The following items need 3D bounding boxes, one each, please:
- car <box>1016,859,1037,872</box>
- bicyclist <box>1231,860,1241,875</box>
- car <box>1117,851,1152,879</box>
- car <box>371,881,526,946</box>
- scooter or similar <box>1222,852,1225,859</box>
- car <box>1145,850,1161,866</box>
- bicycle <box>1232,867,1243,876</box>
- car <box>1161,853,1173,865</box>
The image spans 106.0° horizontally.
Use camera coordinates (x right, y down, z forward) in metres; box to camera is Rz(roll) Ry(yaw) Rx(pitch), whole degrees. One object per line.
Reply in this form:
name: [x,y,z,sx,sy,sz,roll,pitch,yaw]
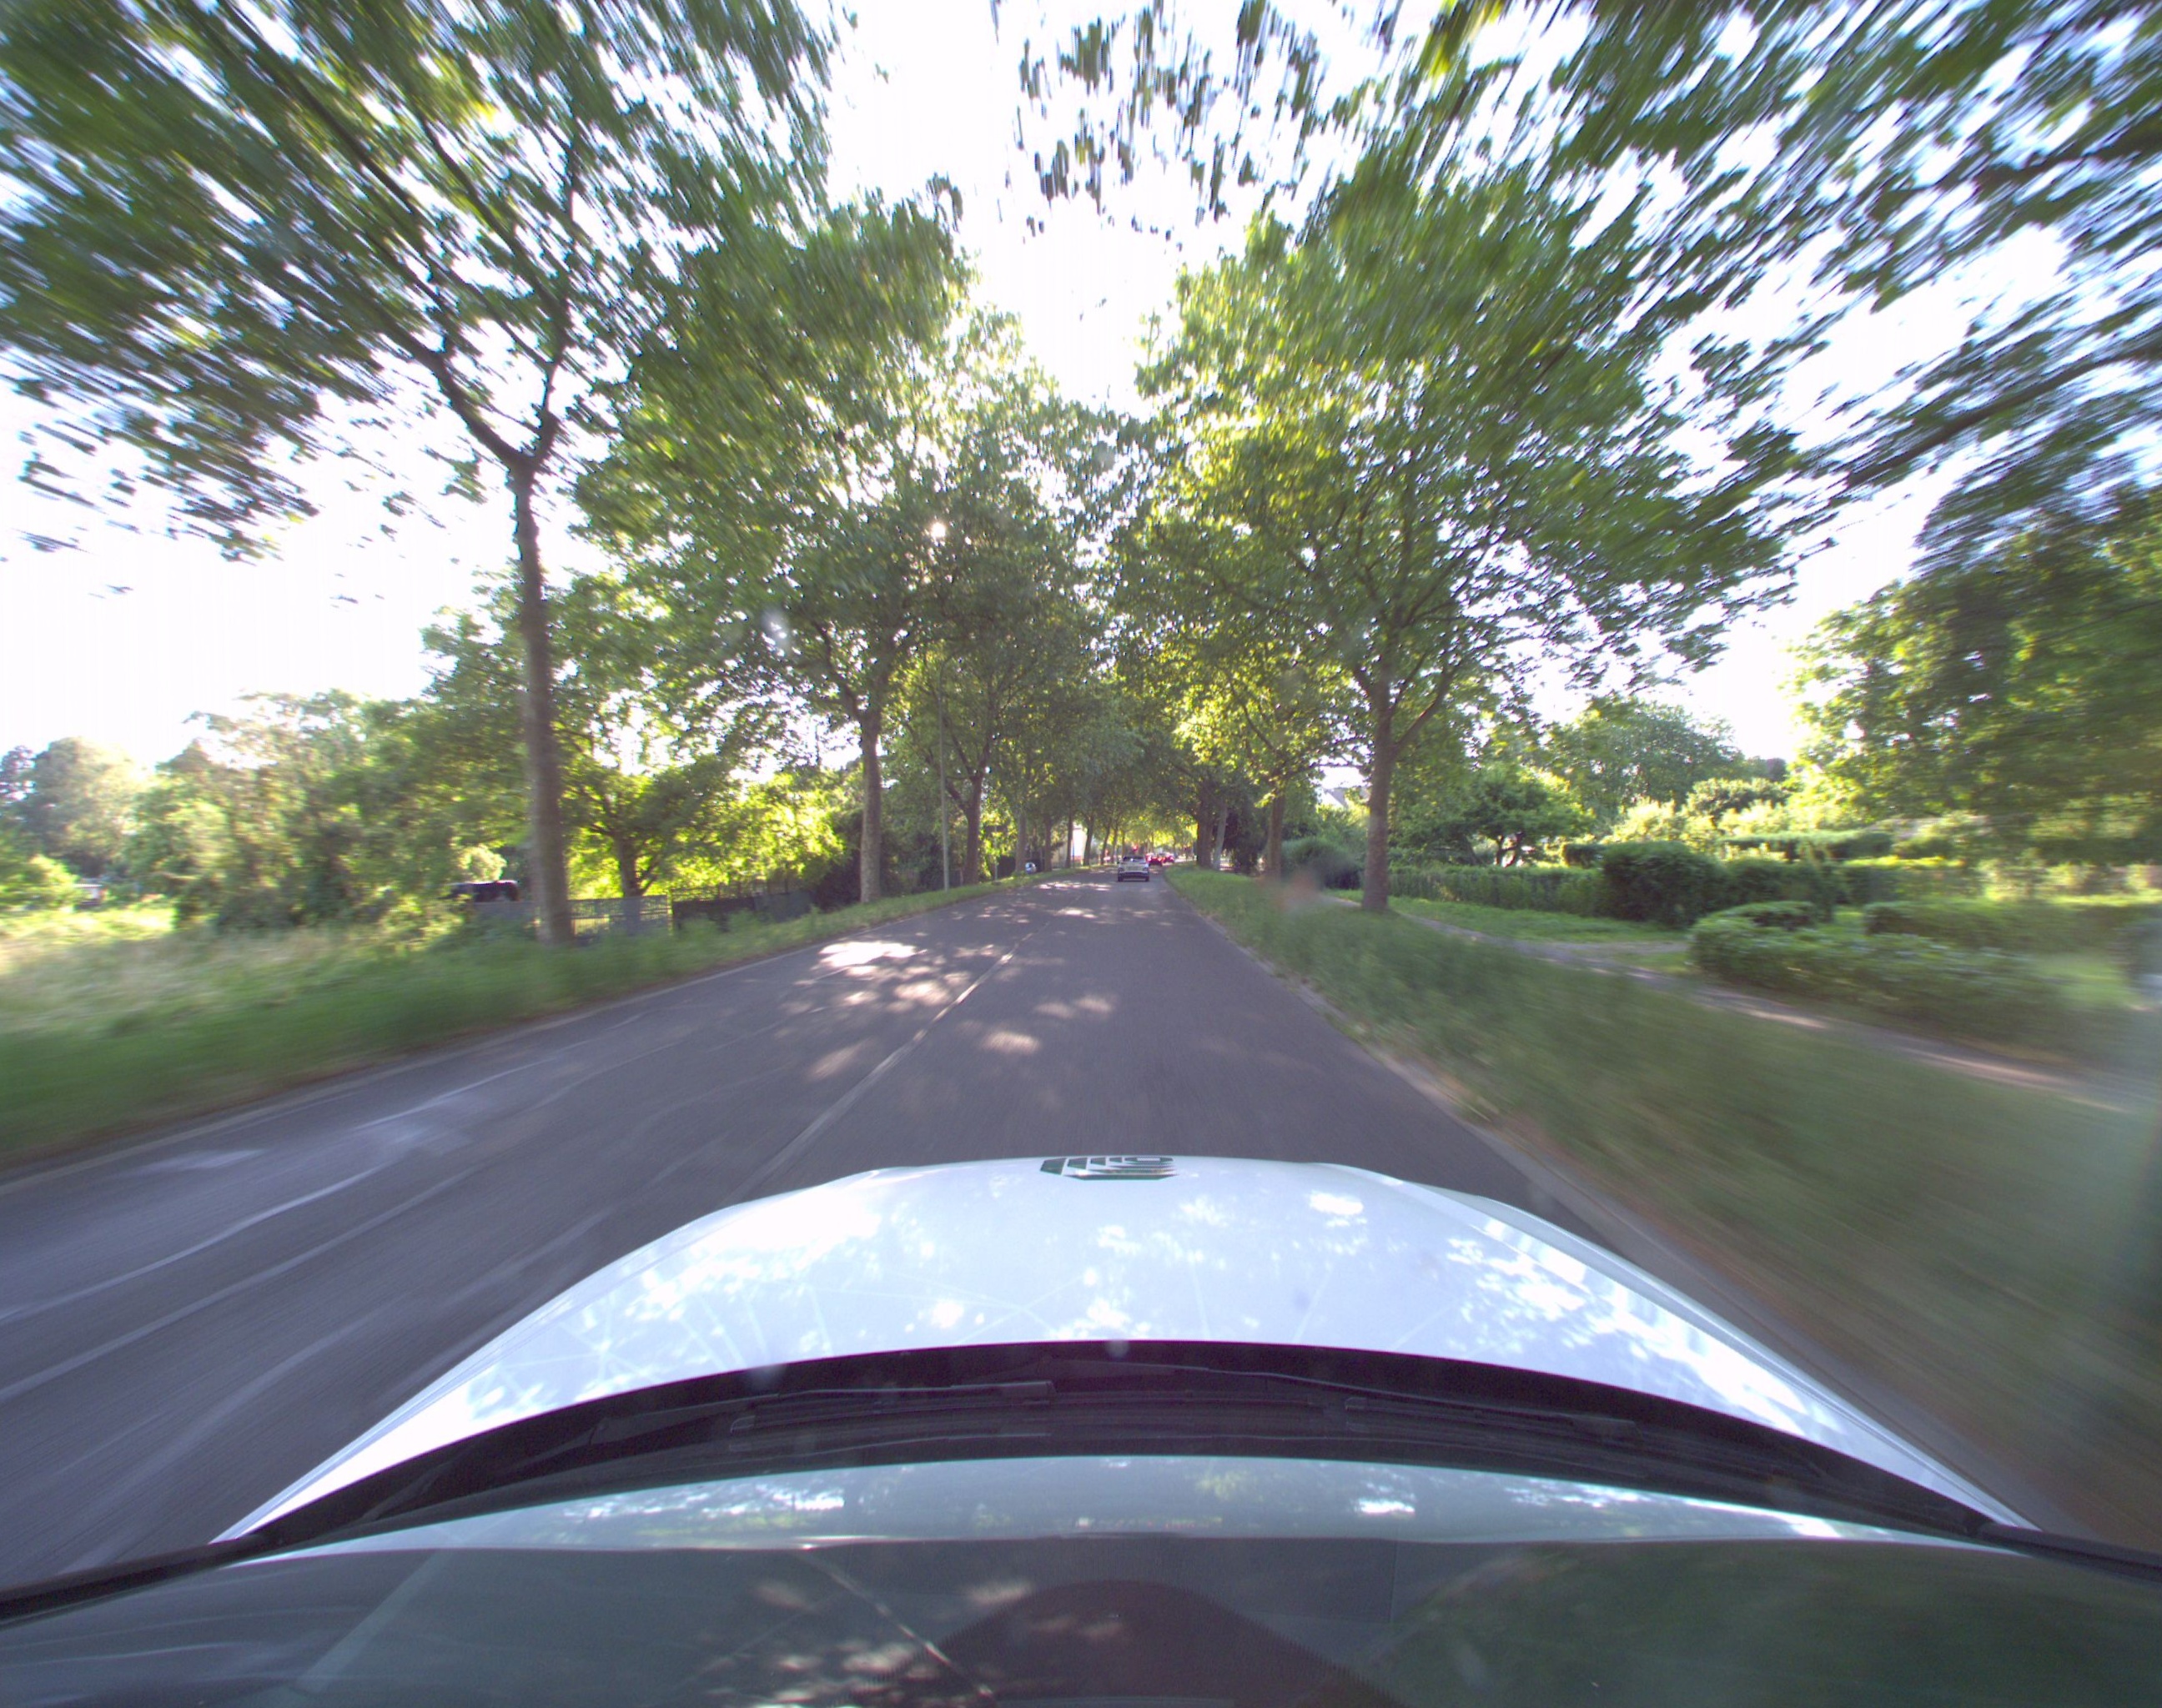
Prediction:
car: [-5.908,1.250,89.162,1.744,1.304,4.004,-2,1,3]
bicyclist: [14.332,1.217,75.140,0.732,1.366,0.770,0,-1,-2]
car: [3.186,0.634,47.836,1.984,1.574,4.005,0,-1,5]
car: [-21.250,1.952,27.420,3.960,2.014,2.007,0,-1,12]
scooter or similar: [25.788,0.332,147.165,0.546,1.258,2.319,0,-1,10]
car: [9.522,0.514,107.434,1.984,2.014,4.006,0,-1,5]
bicycle: [14.347,1.634,74.889,0.551,0.817,1.886,0,-1,-3]
car: [14.725,0.888,138.763,1.983,2.014,4.007,0,-1,6]
